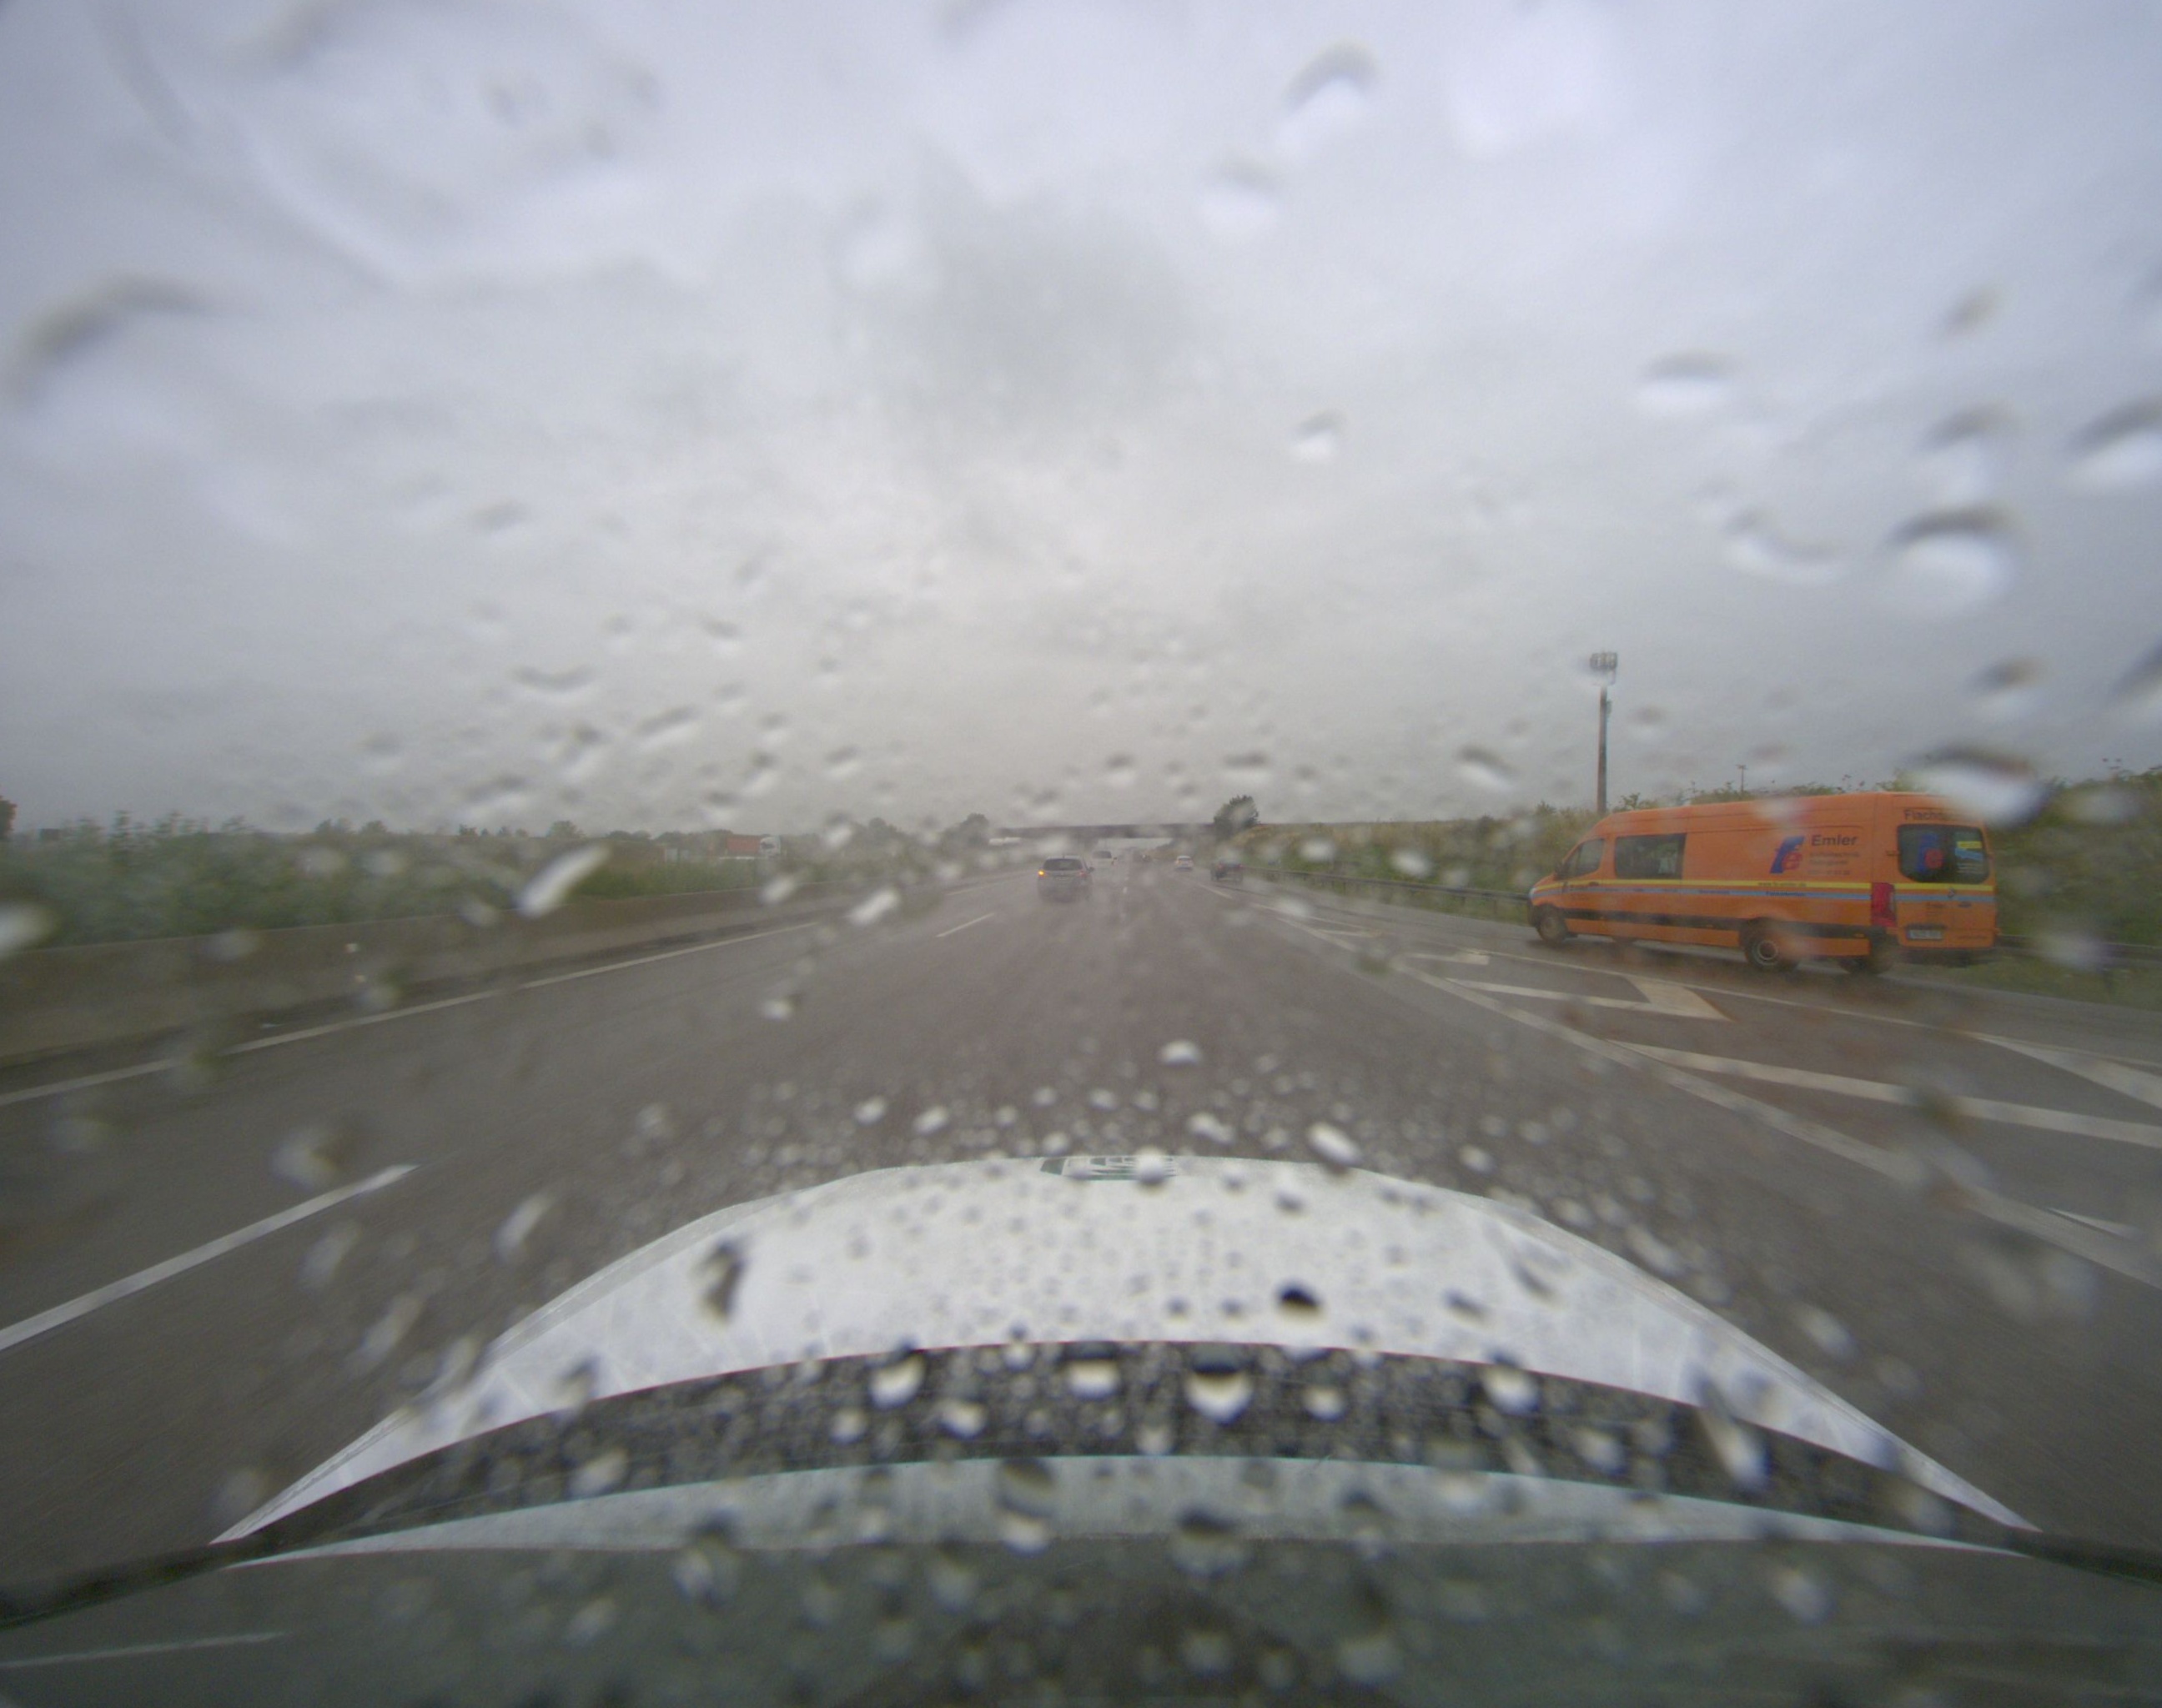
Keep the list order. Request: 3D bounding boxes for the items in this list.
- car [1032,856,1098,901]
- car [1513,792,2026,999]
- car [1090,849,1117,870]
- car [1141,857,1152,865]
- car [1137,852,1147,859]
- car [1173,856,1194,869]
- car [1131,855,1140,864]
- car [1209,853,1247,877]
[{"bbox_3d":[-0.493,0.834,29.616,1.837,1.513,4.764,-1,0,6],"label":"car"},{"bbox_3d":[10.744,0.537,13.870,2.062,2.615,6.858,2,0,-12],"label":"car"},{"bbox_3d":[1.765,0.410,63.097,1.889,1.585,4.004,0,-1,3],"label":"car"},{"bbox_3d":[11.574,1.246,143.720,1.794,1.508,4.000,0,-1,1],"label":"car"},{"bbox_3d":[12.933,0.263,172.513,1.985,1.464,4.003,-1,0,3],"label":"car"},{"bbox_3d":[10.164,0.882,80.768,1.984,1.266,4.006,0,-1,5],"label":"car"},{"bbox_3d":[13.089,1.325,196.164,1.987,2.101,4.000,-1,0,1],"label":"car"},{"bbox_3d":[9.148,0.674,50.842,1.726,1.421,3.658,0,0,0],"label":"car"}]
